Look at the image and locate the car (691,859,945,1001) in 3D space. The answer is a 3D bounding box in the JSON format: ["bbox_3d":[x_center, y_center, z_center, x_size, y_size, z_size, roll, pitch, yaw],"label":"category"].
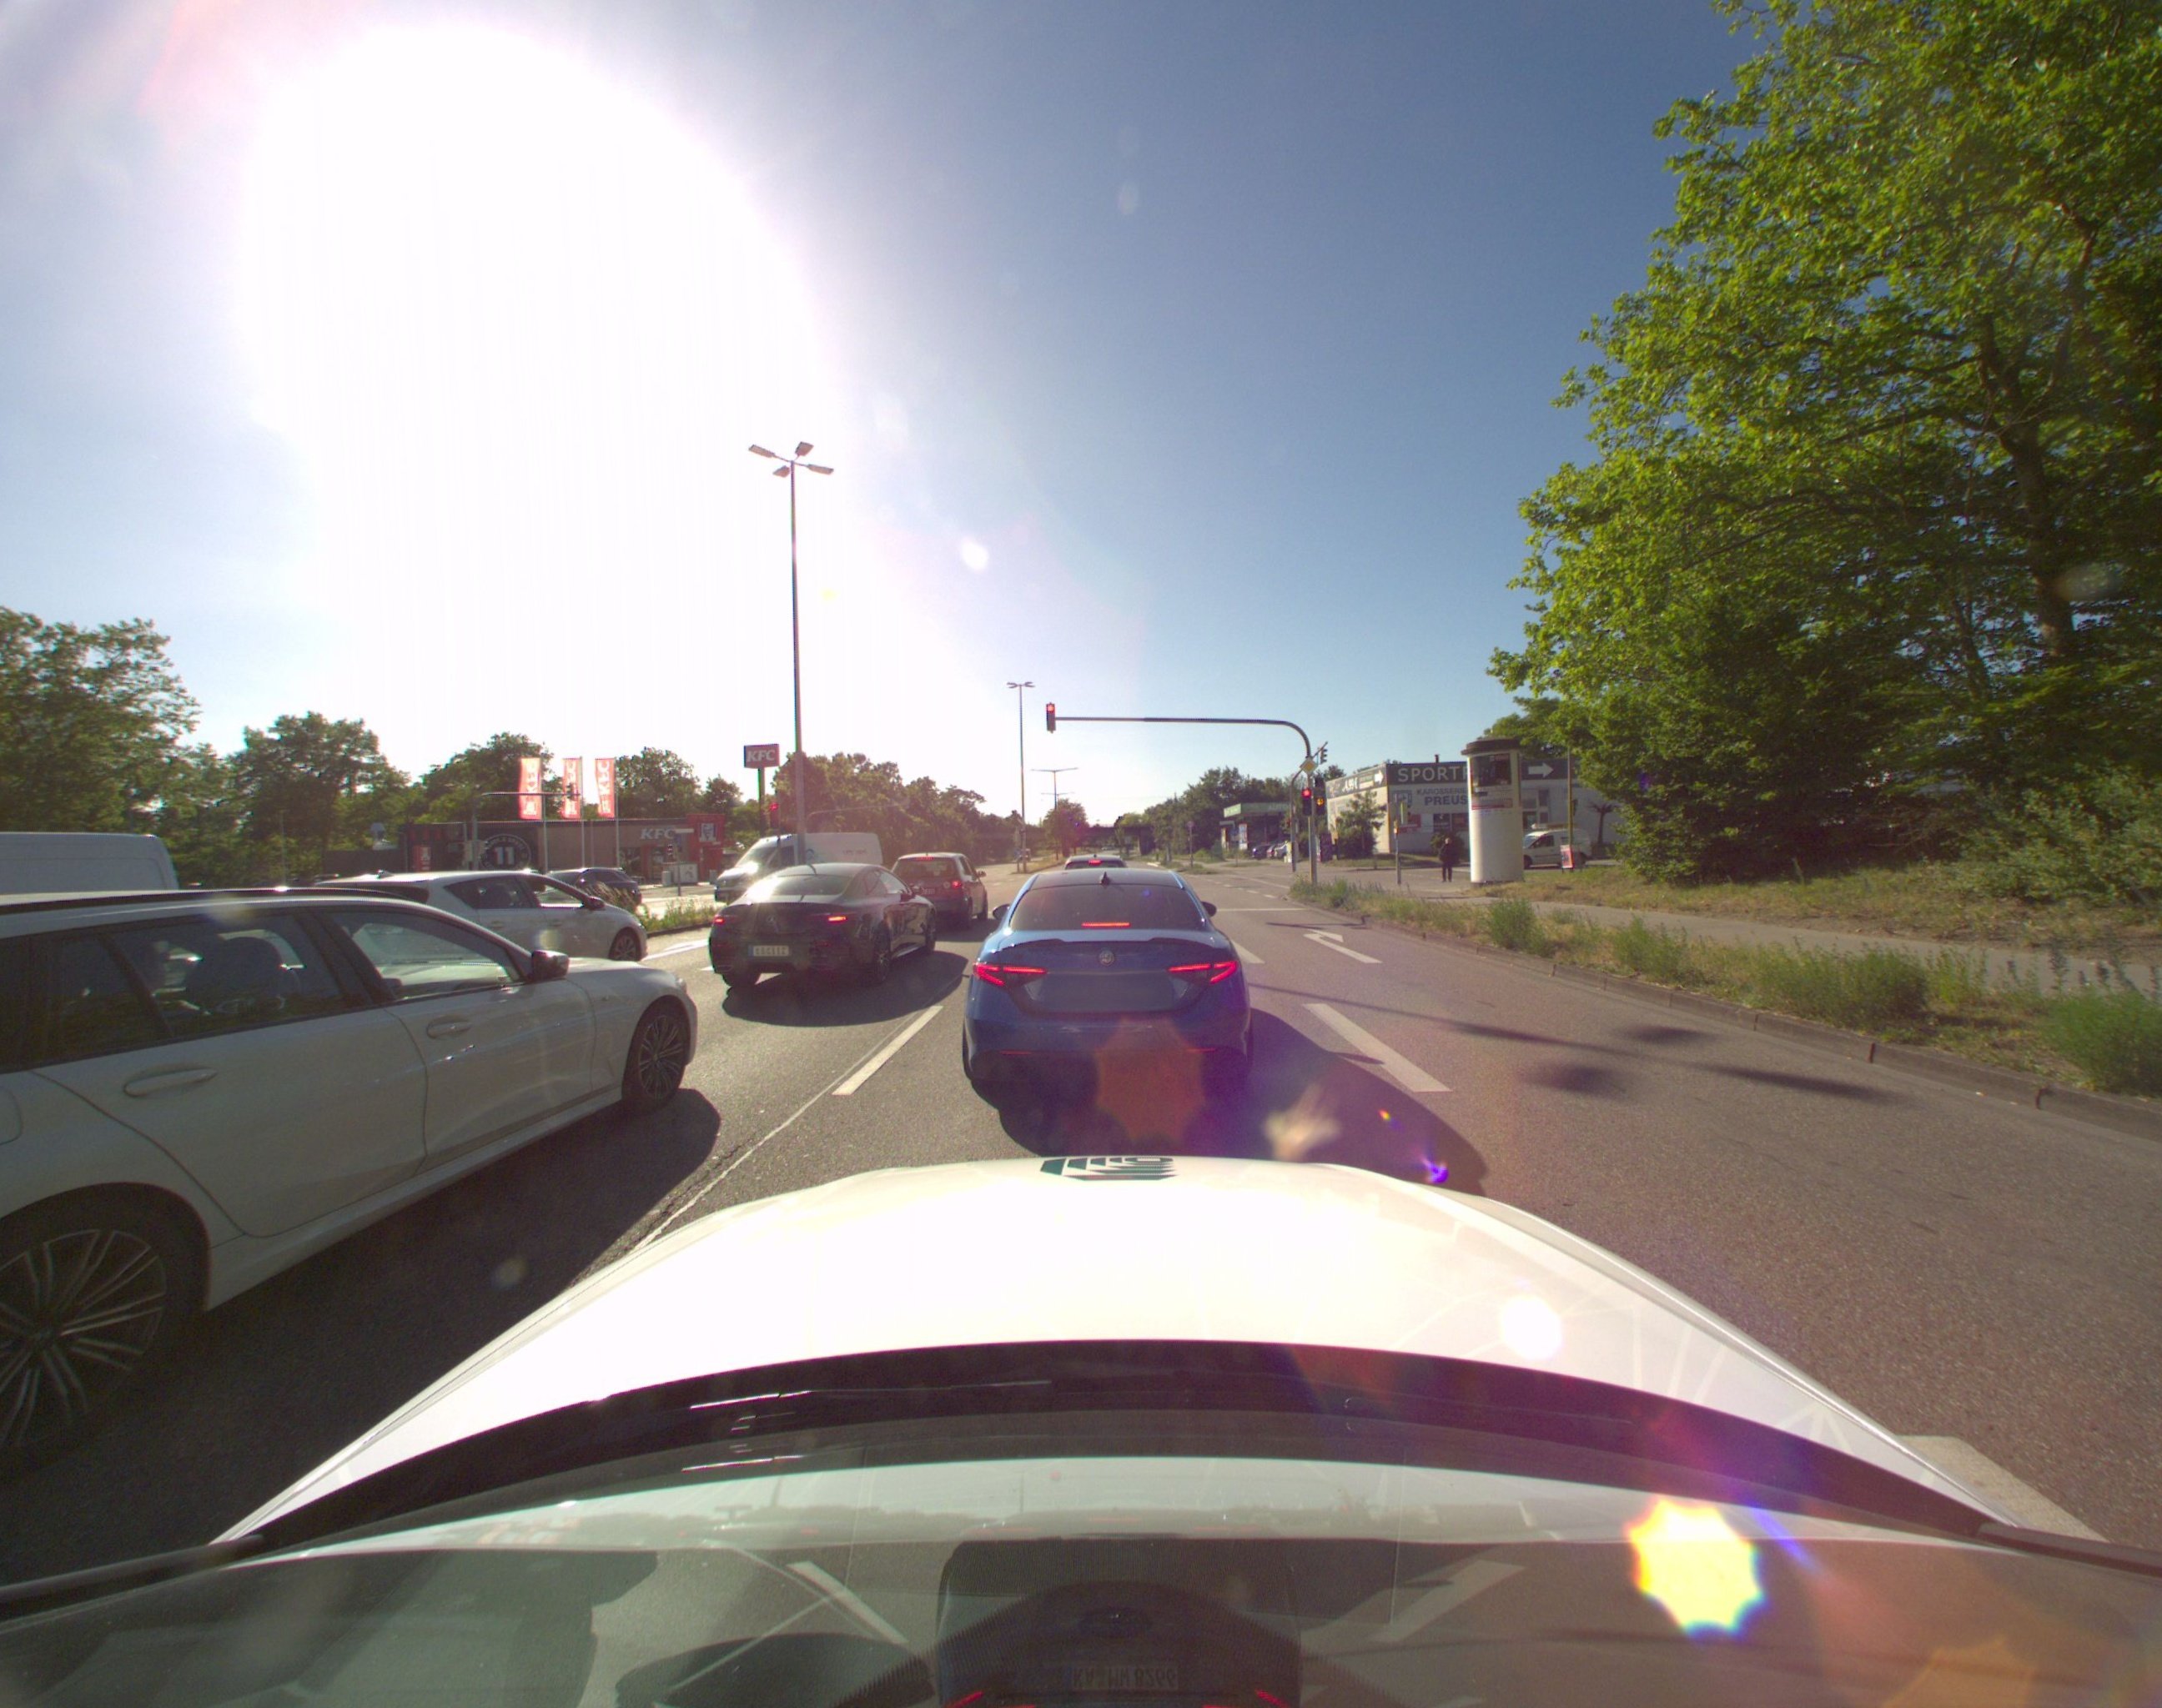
[{"bbox_3d":[-3.148,0.817,10.826,1.762,1.414,4.463,-1,0,2],"label":"car"}]

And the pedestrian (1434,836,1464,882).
[{"bbox_3d":[14.298,0.183,31.636,0.818,1.721,0.856,-2,0,9],"label":"pedestrian"}]

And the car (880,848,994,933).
[{"bbox_3d":[-3.002,0.702,17.767,1.642,1.598,3.933,-1,0,2],"label":"car"}]

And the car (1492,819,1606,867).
[{"bbox_3d":[22.628,-0.518,39.457,4.393,2.145,1.999,-1,0,-2],"label":"car"}]

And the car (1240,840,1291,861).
[{"bbox_3d":[16.038,-0.288,70.752,3.997,1.706,1.685,-1,0,-18],"label":"car"}]

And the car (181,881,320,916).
[{"bbox_3d":[-39.252,2.086,38.573,4.701,1.429,1.865,-1,1,2],"label":"car"}]

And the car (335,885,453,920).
[{"bbox_3d":[-32.130,2.240,38.164,4.019,1.429,1.826,-1,0,3],"label":"car"}]

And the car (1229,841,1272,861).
[{"bbox_3d":[15.381,-0.252,73.961,3.489,1.706,1.687,-1,0,-14],"label":"car"}]

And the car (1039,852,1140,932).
[{"bbox_3d":[0.227,0.705,17.190,1.859,1.450,3.933,-1,0,2],"label":"car"}]

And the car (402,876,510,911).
[{"bbox_3d":[-31.926,1.991,41.687,4.025,1.595,1.824,-2,0,-1],"label":"car"}]

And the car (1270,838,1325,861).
[{"bbox_3d":[17.508,-0.357,65.858,3.993,1.706,1.687,-1,0,-15],"label":"car"}]

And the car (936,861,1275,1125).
[{"bbox_3d":[0.196,0.791,6.479,1.859,1.385,3.933,-1,0,2],"label":"car"}]

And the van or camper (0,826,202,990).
[{"bbox_3d":[-18.460,0.933,12.963,1.984,2.650,5.965,-4,0,5],"label":"van or camper"}]

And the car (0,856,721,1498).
[{"bbox_3d":[-3.435,0.801,3.354,1.762,1.509,4.463,-1,0,2],"label":"car"}]

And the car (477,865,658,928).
[{"bbox_3d":[-15.710,1.227,25.261,1.980,1.653,4.631,-1,0,13],"label":"car"}]

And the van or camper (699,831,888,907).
[{"bbox_3d":[-10.572,0.469,30.710,2.157,2.572,6.797,-1,0,32],"label":"van or camper"}]

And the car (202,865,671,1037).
[{"bbox_3d":[-6.906,0.904,9.528,1.850,1.429,4.405,-1,0,2],"label":"car"}]
